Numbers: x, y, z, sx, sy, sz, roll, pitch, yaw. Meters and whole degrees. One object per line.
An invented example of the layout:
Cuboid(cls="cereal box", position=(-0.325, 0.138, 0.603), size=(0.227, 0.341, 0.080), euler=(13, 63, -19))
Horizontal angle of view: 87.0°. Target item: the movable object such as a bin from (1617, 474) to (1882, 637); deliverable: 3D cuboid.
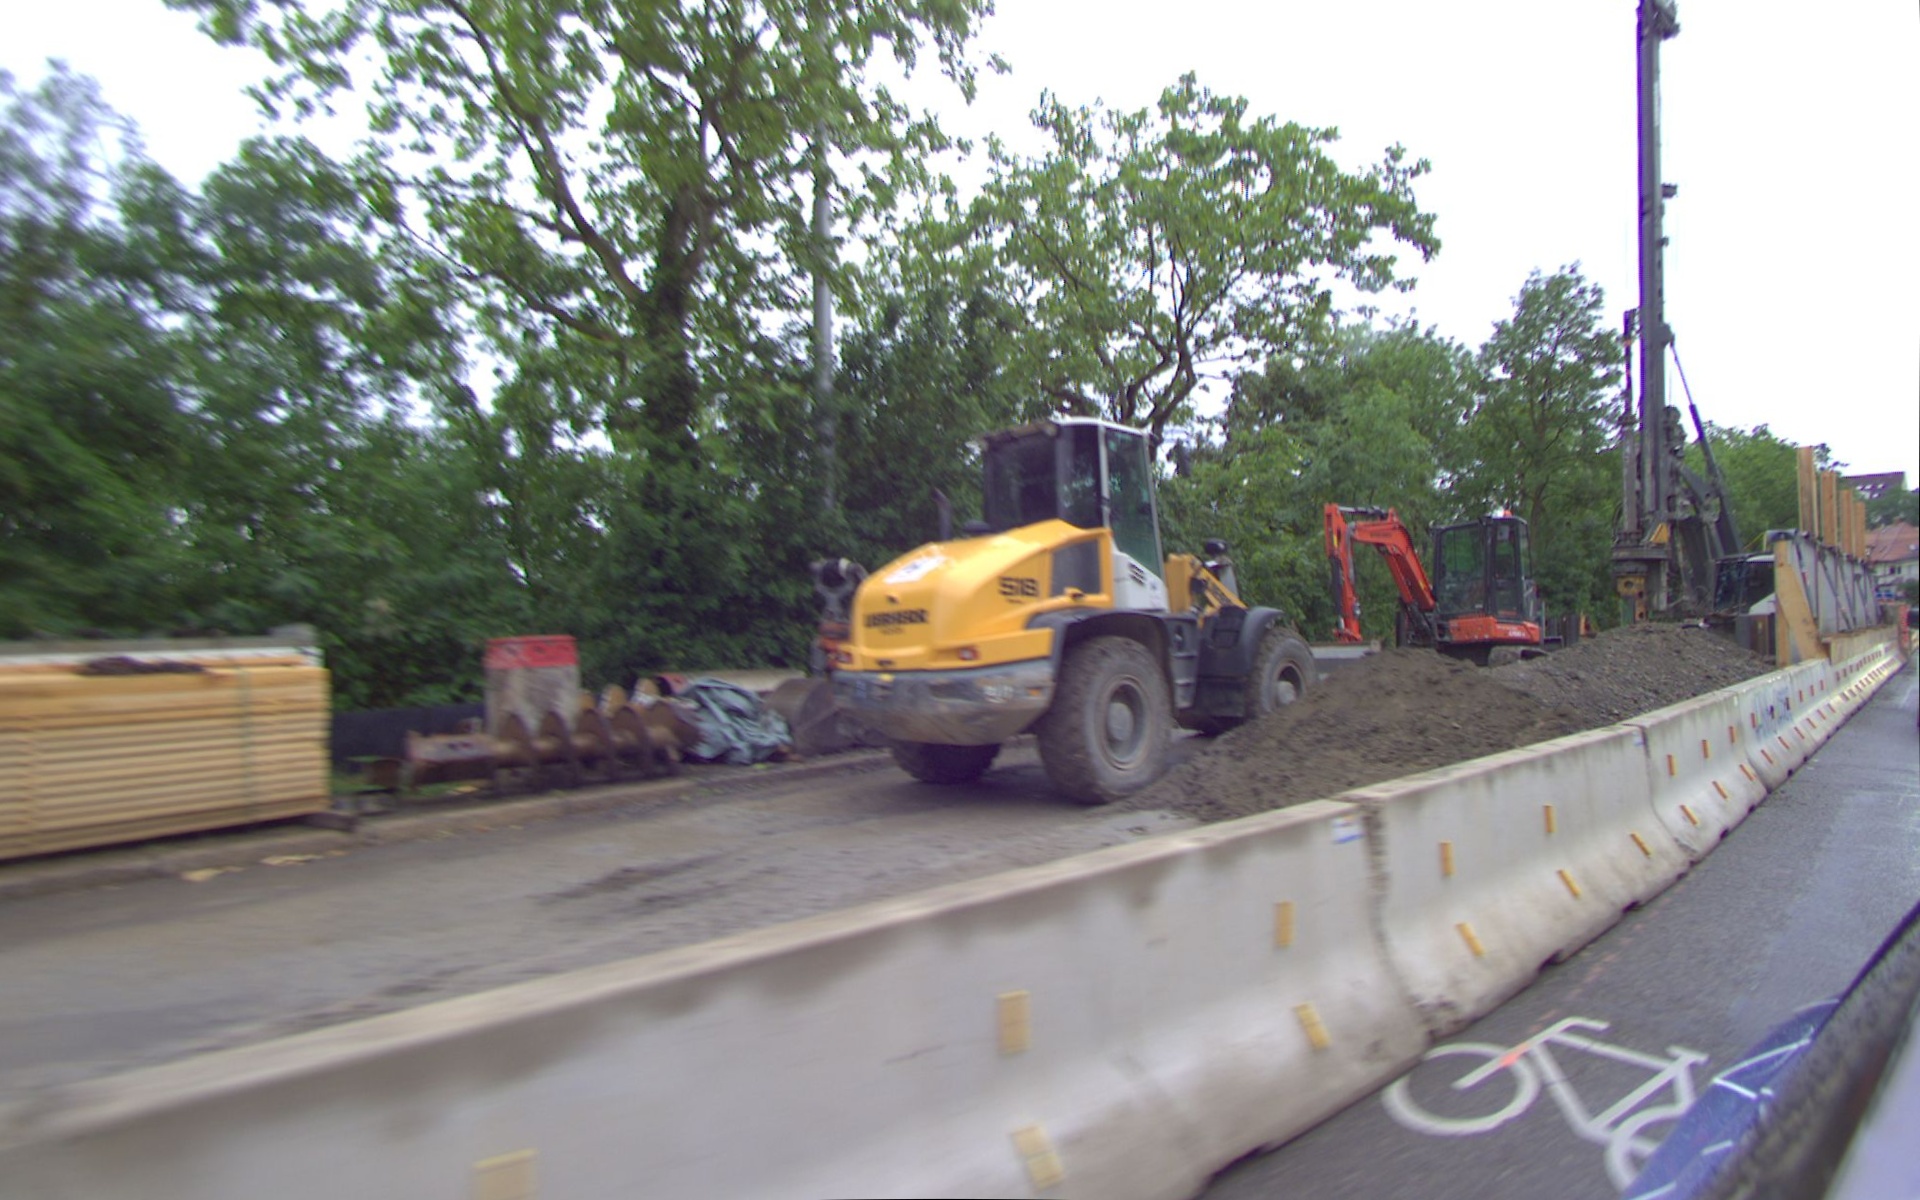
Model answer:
Cuboid(cls="movable object such as a bin", position=(26.816, -1.434, 34.519), size=(7.012, 5.130, 3.702), euler=(0, 0, -16))

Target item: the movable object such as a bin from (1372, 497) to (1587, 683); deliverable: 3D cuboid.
Cuboid(cls="movable object such as a bin", position=(8.321, -0.129, 16.157), size=(3.124, 2.635, 2.096), euler=(-1, -1, -44))

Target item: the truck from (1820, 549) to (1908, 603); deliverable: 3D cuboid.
Cuboid(cls="truck", position=(37.488, -0.980, 41.953), size=(3.250, 2.134, 2.552), euler=(-1, 1, -45))

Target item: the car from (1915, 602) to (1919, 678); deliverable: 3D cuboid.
Cuboid(cls="car", position=(22.189, 0.839, 21.905), size=(3.931, 1.594, 1.887), euler=(1, -2, -42))

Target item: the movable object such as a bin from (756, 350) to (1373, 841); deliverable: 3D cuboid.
Cuboid(cls="movable object such as a bin", position=(1.216, -0.033, 9.197), size=(5.493, 3.115, 2.497), euler=(-1, -1, -42))
